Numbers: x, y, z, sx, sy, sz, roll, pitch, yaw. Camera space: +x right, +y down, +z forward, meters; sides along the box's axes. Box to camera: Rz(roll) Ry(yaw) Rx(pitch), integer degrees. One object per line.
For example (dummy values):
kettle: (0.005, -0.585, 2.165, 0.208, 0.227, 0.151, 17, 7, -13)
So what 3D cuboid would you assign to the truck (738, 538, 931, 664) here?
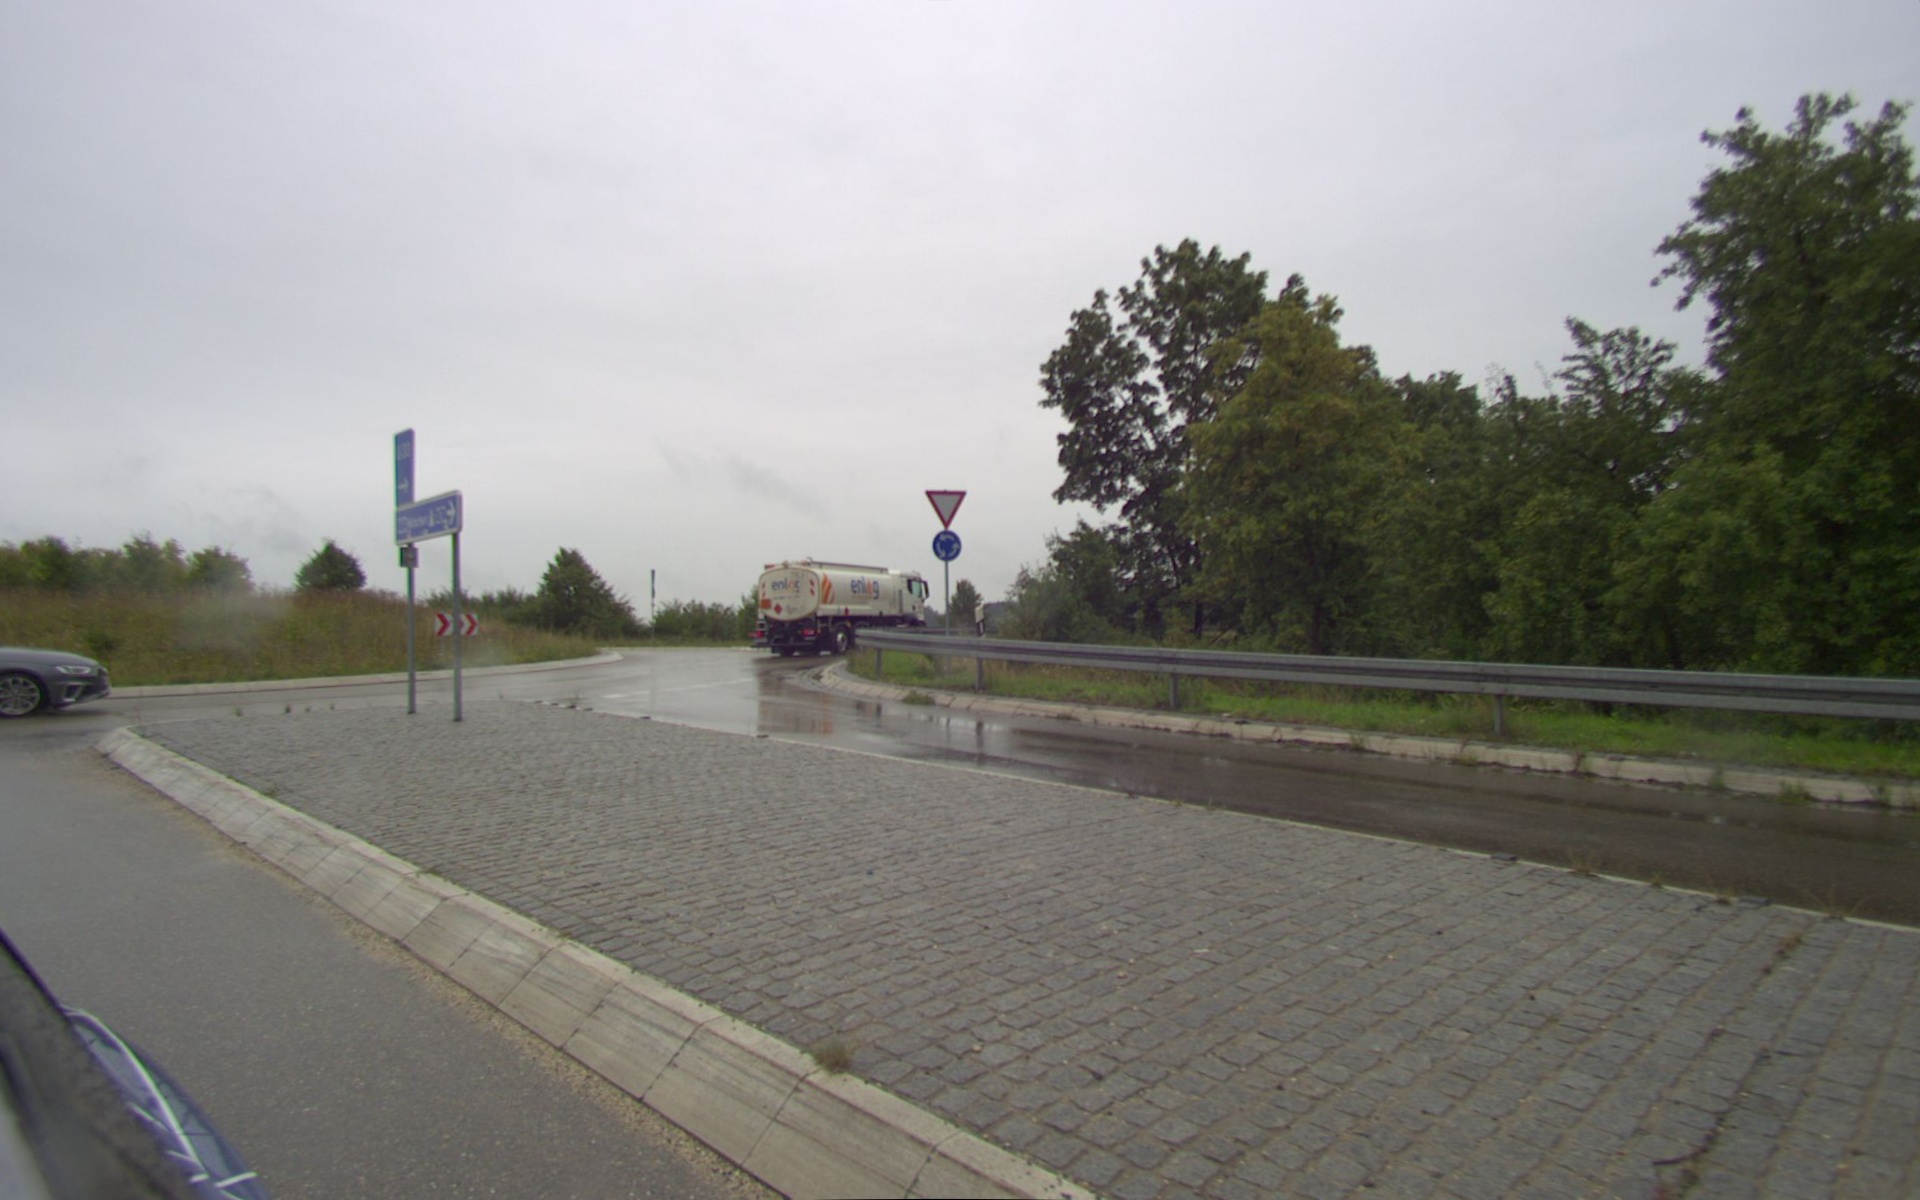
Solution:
truck: (-4.173, 0.123, 36.300, 3.028, 3.881, 8.759, -2, -2, 21)

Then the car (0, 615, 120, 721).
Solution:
car: (-14.516, 0.950, 13.768, 4.487, 1.379, 1.916, -1, 0, -30)
